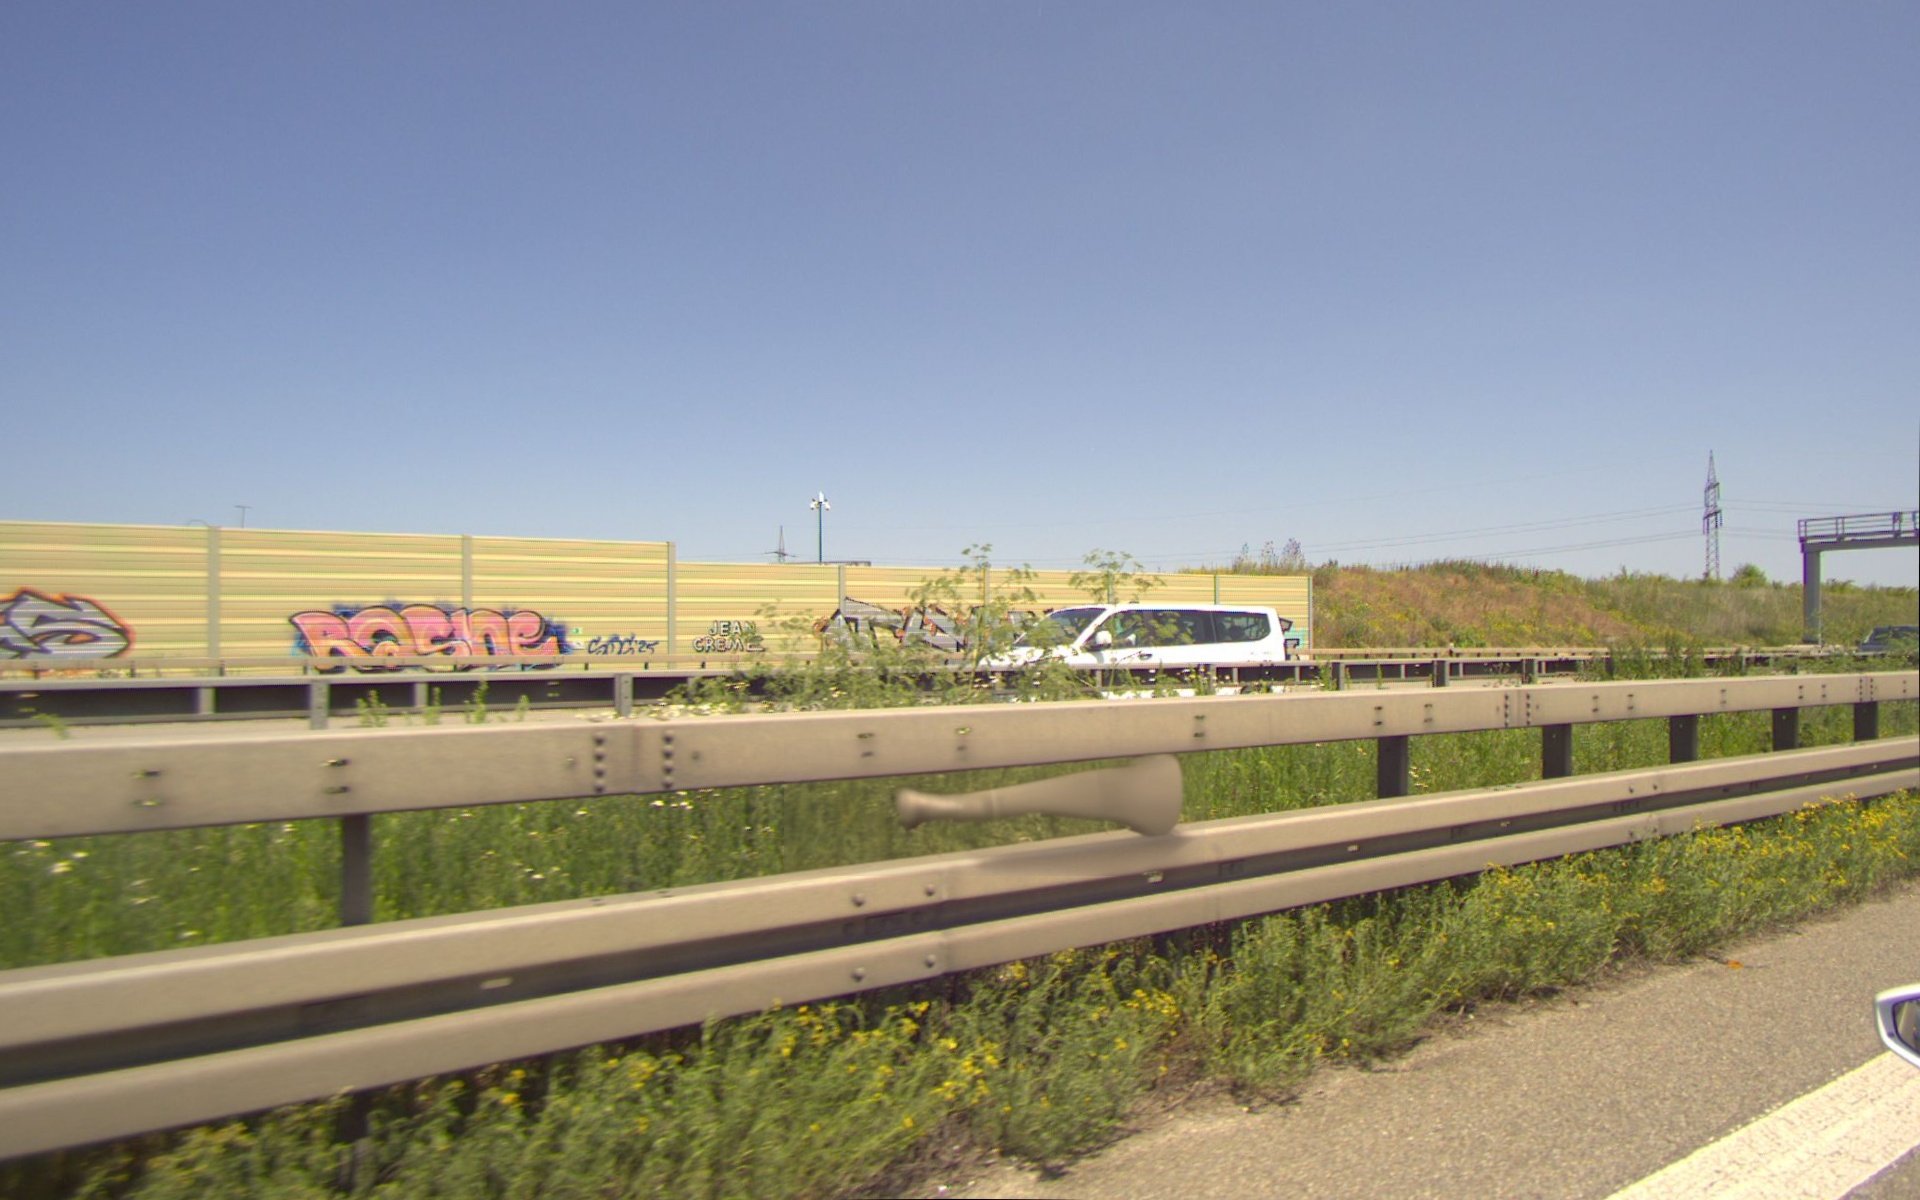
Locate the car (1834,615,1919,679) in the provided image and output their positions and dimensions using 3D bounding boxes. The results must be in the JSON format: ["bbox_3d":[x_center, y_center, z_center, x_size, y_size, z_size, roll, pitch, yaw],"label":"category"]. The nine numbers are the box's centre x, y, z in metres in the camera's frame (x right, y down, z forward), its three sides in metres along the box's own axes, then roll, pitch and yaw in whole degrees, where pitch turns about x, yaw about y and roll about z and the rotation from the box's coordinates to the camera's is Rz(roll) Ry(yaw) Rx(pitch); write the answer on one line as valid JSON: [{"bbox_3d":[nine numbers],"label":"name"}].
[{"bbox_3d":[31.301,1.563,33.118,5.787,1.965,1.985,2,-4,-30],"label":"car"}]

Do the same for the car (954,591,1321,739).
[{"bbox_3d":[2.940,0.954,15.990,5.845,1.988,1.984,2,0,-31],"label":"car"}]
